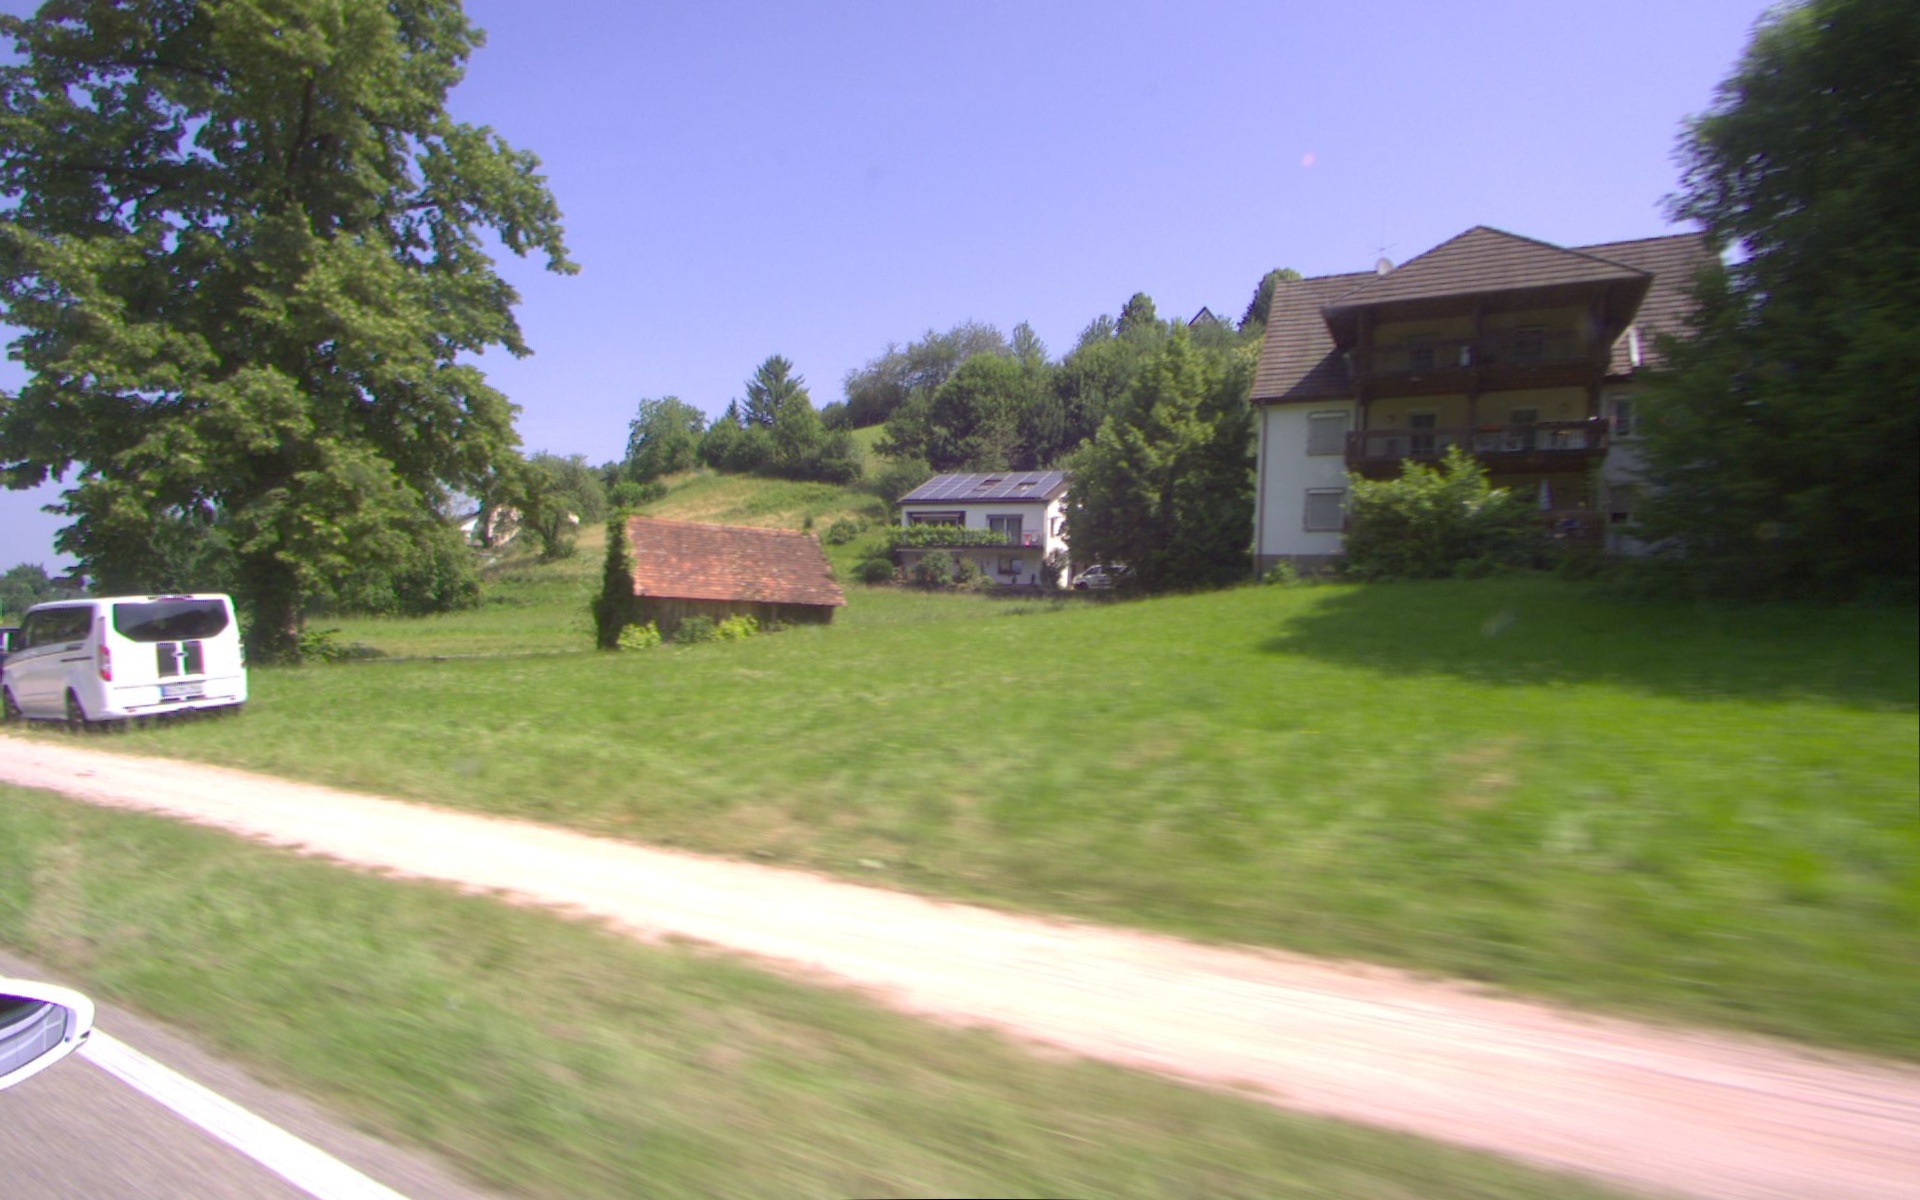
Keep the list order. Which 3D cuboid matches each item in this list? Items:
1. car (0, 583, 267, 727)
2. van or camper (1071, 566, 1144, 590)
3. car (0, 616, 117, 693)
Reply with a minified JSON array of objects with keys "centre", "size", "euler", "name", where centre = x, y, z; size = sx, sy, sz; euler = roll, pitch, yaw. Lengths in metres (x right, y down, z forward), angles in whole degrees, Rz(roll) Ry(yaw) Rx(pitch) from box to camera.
[{"centre":[-13.185,0.752,15.713],"size":[4.799,1.874,1.993],"euler":[0,3,32],"name":"car"},{"centre":[10.797,-1.591,73.421],"size":[4.960,1.663,2.028],"euler":[0,-1,22],"name":"van or camper"},{"centre":[-19.928,1.130,21.068],"size":[3.650,1.476,1.676],"euler":[-1,0,18],"name":"car"}]
